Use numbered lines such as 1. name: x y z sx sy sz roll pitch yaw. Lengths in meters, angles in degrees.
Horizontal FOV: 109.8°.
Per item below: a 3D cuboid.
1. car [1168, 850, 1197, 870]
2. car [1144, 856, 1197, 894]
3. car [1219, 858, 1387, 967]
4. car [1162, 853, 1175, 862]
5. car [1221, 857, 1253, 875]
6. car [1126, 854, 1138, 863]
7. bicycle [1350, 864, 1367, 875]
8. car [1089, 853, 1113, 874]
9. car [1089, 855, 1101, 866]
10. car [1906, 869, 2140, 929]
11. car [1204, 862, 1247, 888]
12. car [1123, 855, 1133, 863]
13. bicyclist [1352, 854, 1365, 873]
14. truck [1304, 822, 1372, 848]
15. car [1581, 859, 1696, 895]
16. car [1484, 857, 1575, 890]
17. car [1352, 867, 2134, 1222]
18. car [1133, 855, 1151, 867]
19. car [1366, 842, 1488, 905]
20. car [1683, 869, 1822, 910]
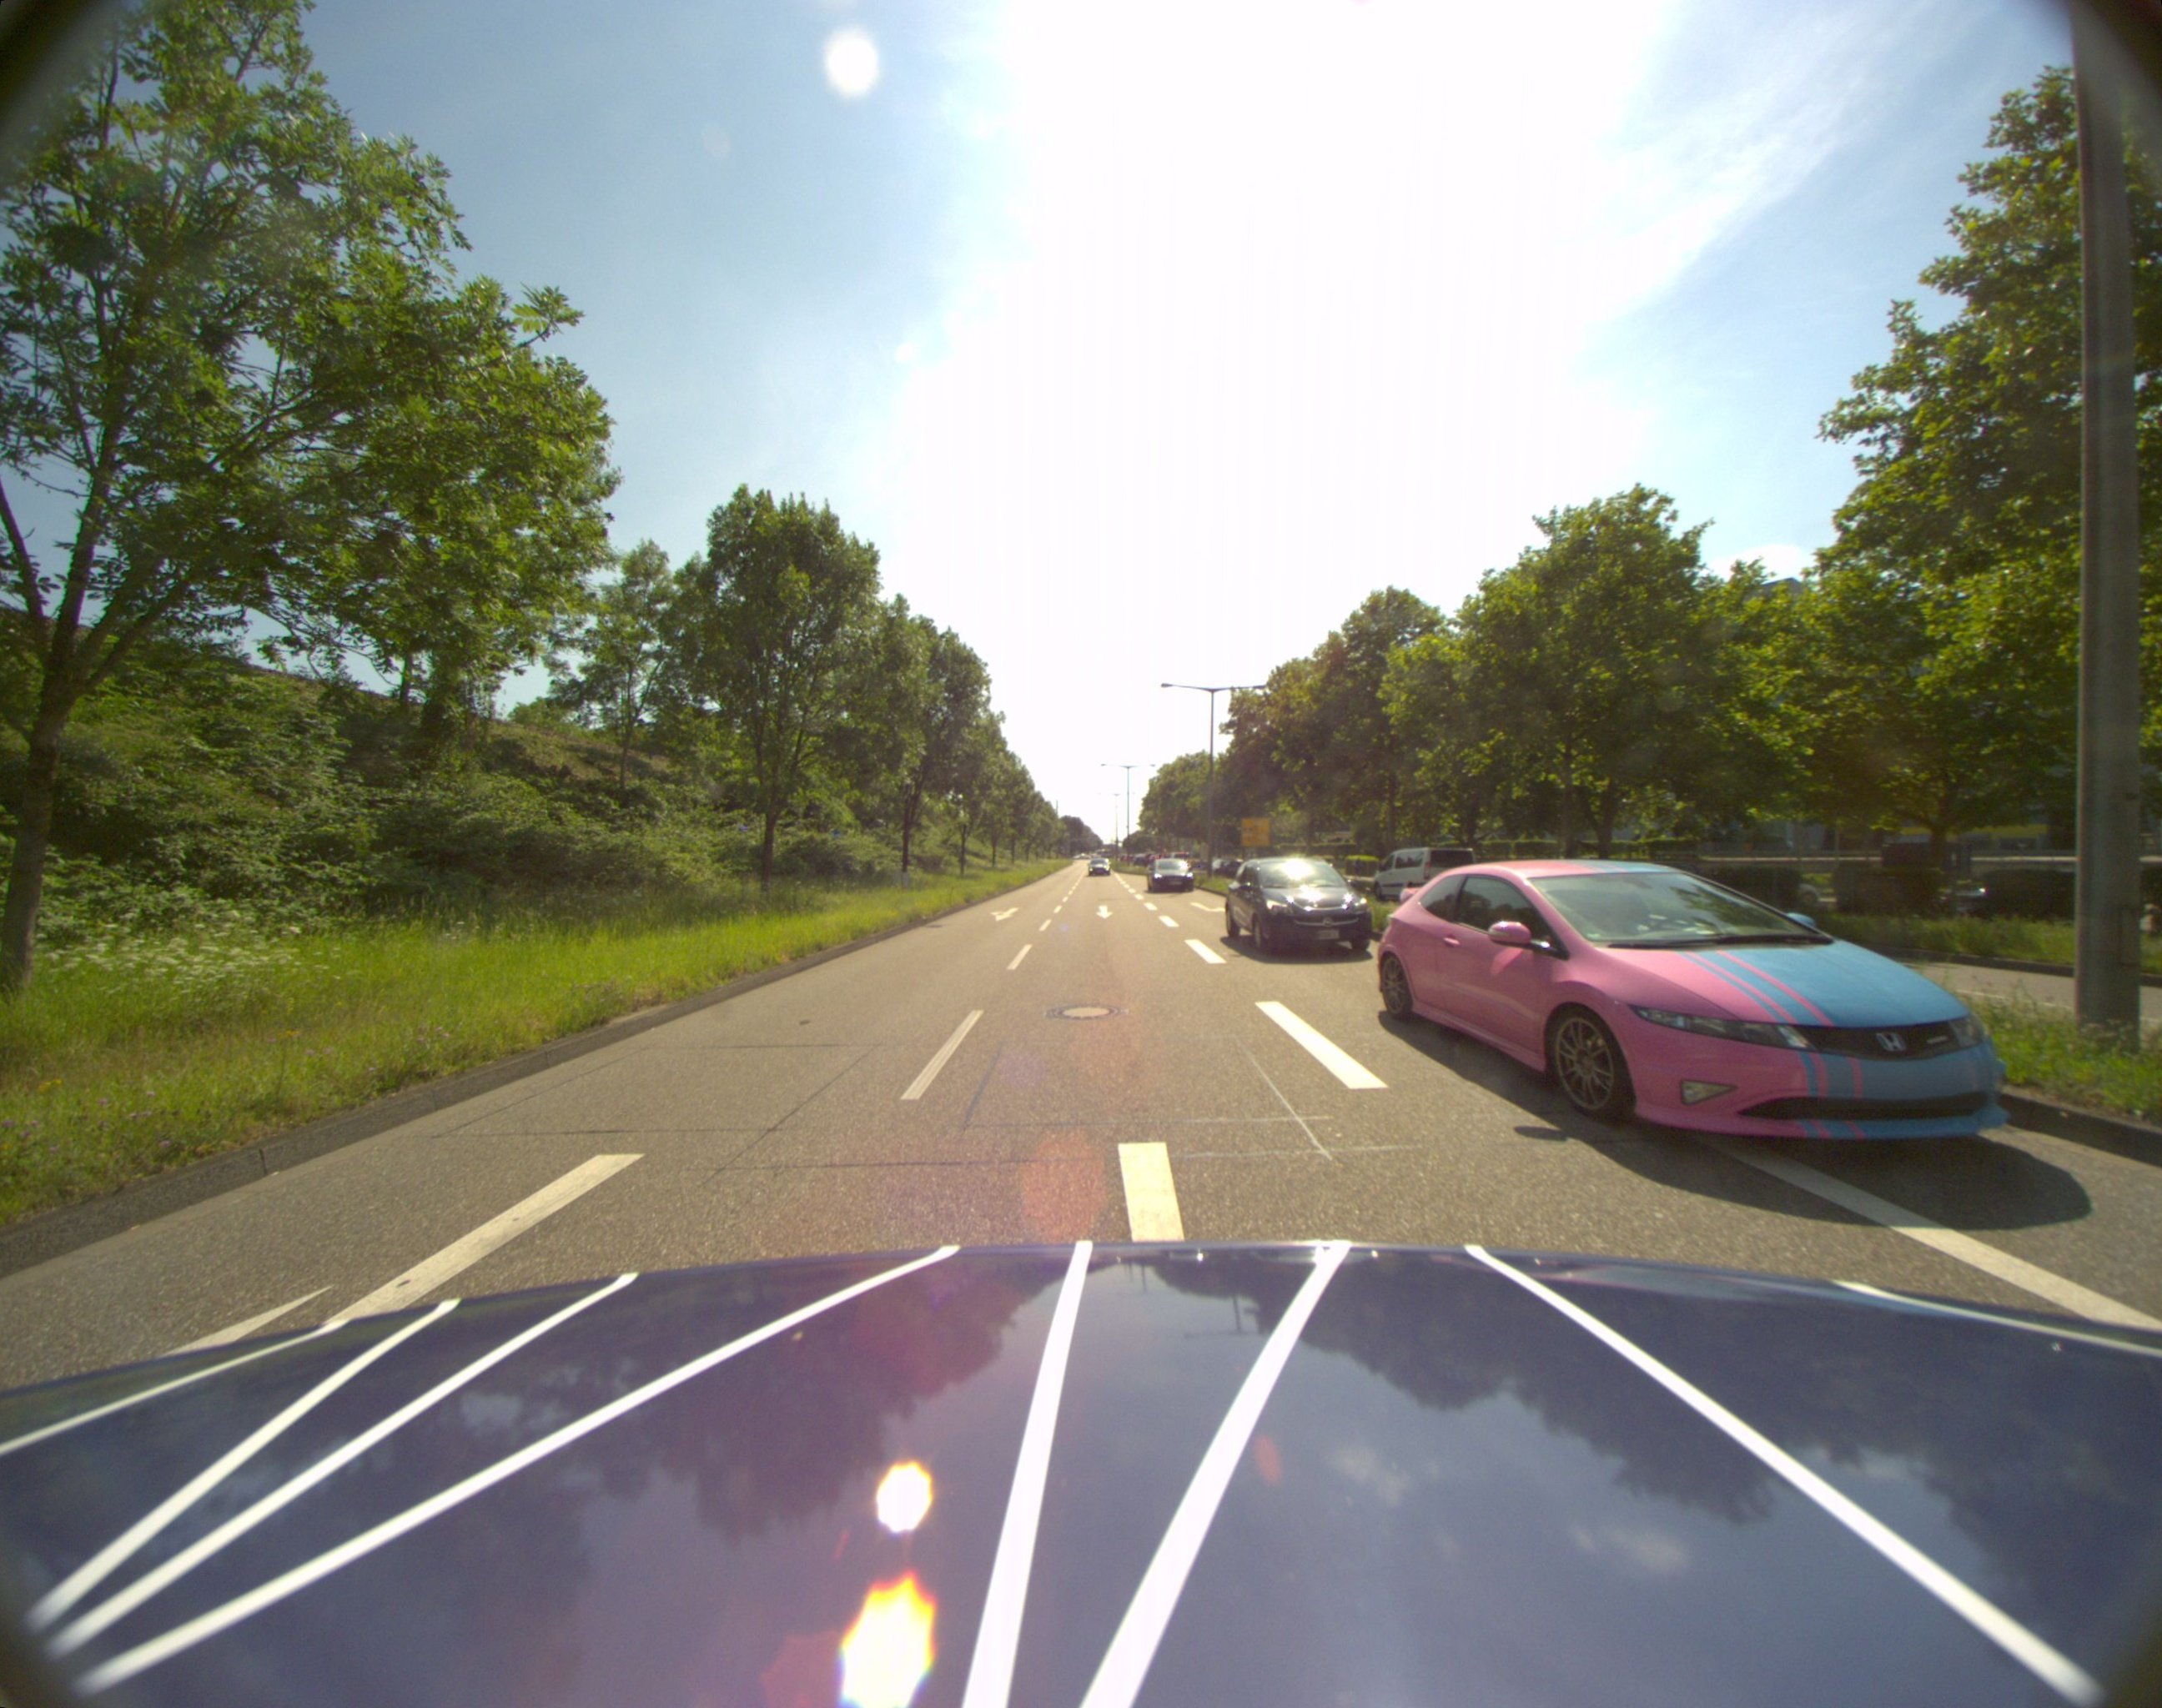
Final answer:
1. car: 10.104 0.571 76.053 2.122 1.872 5.419 0 0 0
2. car: 3.945 0.905 33.945 1.826 1.497 4.216 -3 0 0
3. car: 3.498 0.832 12.737 1.630 1.474 4.048 -2 0 0
4. car: 14.546 0.497 126.896 1.767 1.454 4.000 1 0 1
5. car: 12.601 0.957 61.648 1.791 1.390 4.358 1 1 1
6. car: 8.527 0.810 126.992 1.844 1.470 4.166 0 0 1
7. bicycle: 22.341 1.247 61.174 0.691 0.861 1.926 0 0 1
8. car: 1.645 0.772 63.836 1.998 1.699 4.431 0 0 0
9. car: 2.317 1.006 125.960 1.855 1.752 4.313 0 0 -1
10. car: 25.147 1.181 20.394 3.997 1.486 1.809 0 0 1
11. car: 9.422 1.346 49.897 1.998 1.522 4.682 0 0 1
12. car: 8.882 0.989 143.992 1.777 1.459 4.671 1 0 1
13. bicyclist: 22.347 0.764 61.143 0.683 1.476 0.942 0 1 1
14. truck: 35.013 -2.494 103.839 2.678 3.376 8.965 -1 0 -35
15. car: 25.979 1.068 35.488 3.997 1.592 1.869 0 0 0
16. car: 26.024 1.112 44.189 3.995 1.812 2.157 -1 1 5
17. car: 3.591 0.842 5.442 1.706 1.382 4.472 -2 0 0
18. car: 7.574 0.862 94.644 1.773 1.460 4.282 0 0 -2
19. car: 11.960 0.641 26.753 1.998 2.002 5.213 0 0 1
20. car: 26.229 1.370 29.763 3.998 1.406 1.804 -1 1 -4
